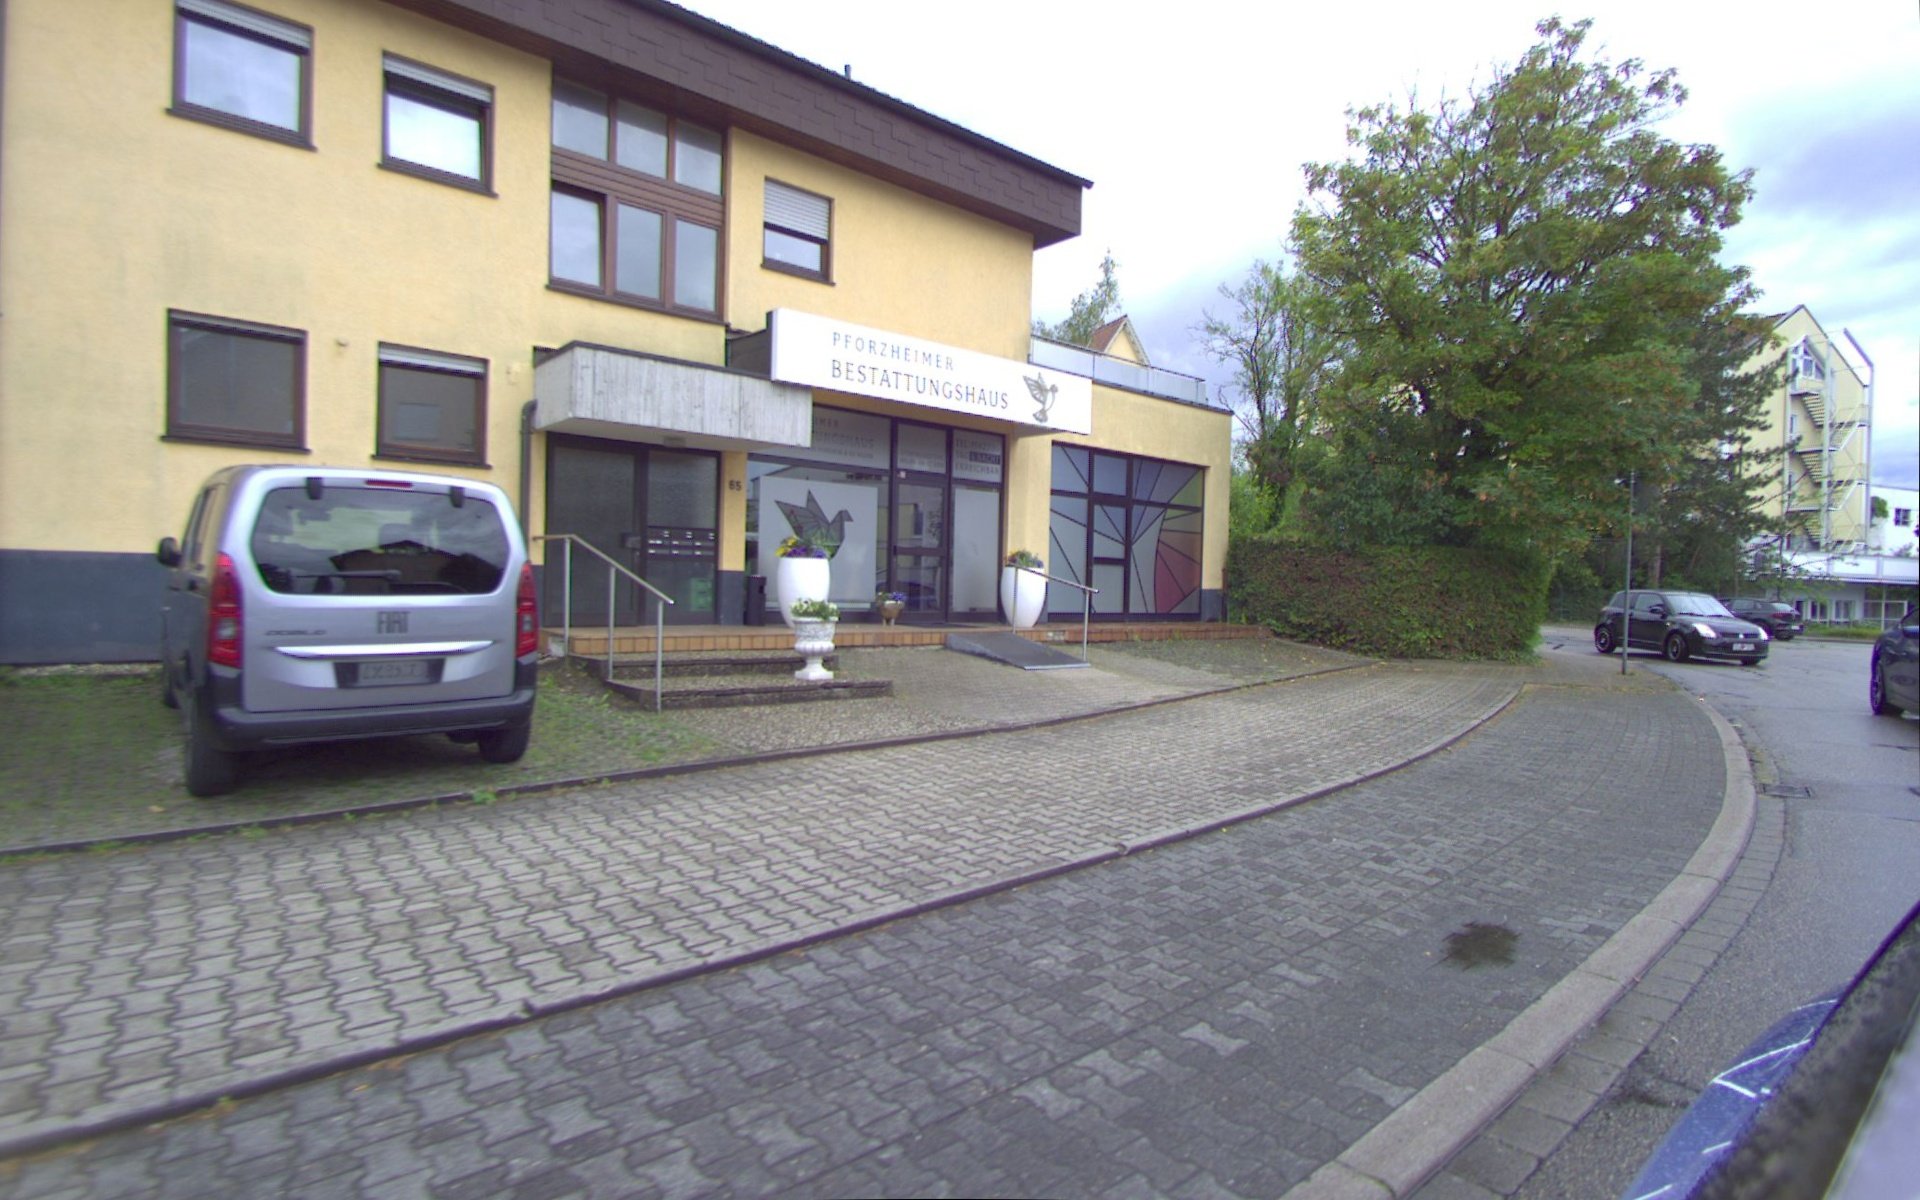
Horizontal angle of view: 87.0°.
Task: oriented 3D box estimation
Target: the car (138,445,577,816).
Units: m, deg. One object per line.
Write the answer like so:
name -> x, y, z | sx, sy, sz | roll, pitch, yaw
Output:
car -> -4.466, -0.052, 7.129 | 1.872, 1.802, 4.304 | -1, 6, -42

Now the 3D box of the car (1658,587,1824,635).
car -> 27.188, 0.352, 35.401 | 1.785, 1.425, 4.210 | 2, 1, -27

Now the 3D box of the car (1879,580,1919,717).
car -> 11.686, 0.549, 11.018 | 1.902, 1.514, 4.295 | 0, 1, 34

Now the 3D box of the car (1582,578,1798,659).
car -> 15.723, 0.330, 22.095 | 1.714, 1.538, 4.002 | -2, 2, -1
